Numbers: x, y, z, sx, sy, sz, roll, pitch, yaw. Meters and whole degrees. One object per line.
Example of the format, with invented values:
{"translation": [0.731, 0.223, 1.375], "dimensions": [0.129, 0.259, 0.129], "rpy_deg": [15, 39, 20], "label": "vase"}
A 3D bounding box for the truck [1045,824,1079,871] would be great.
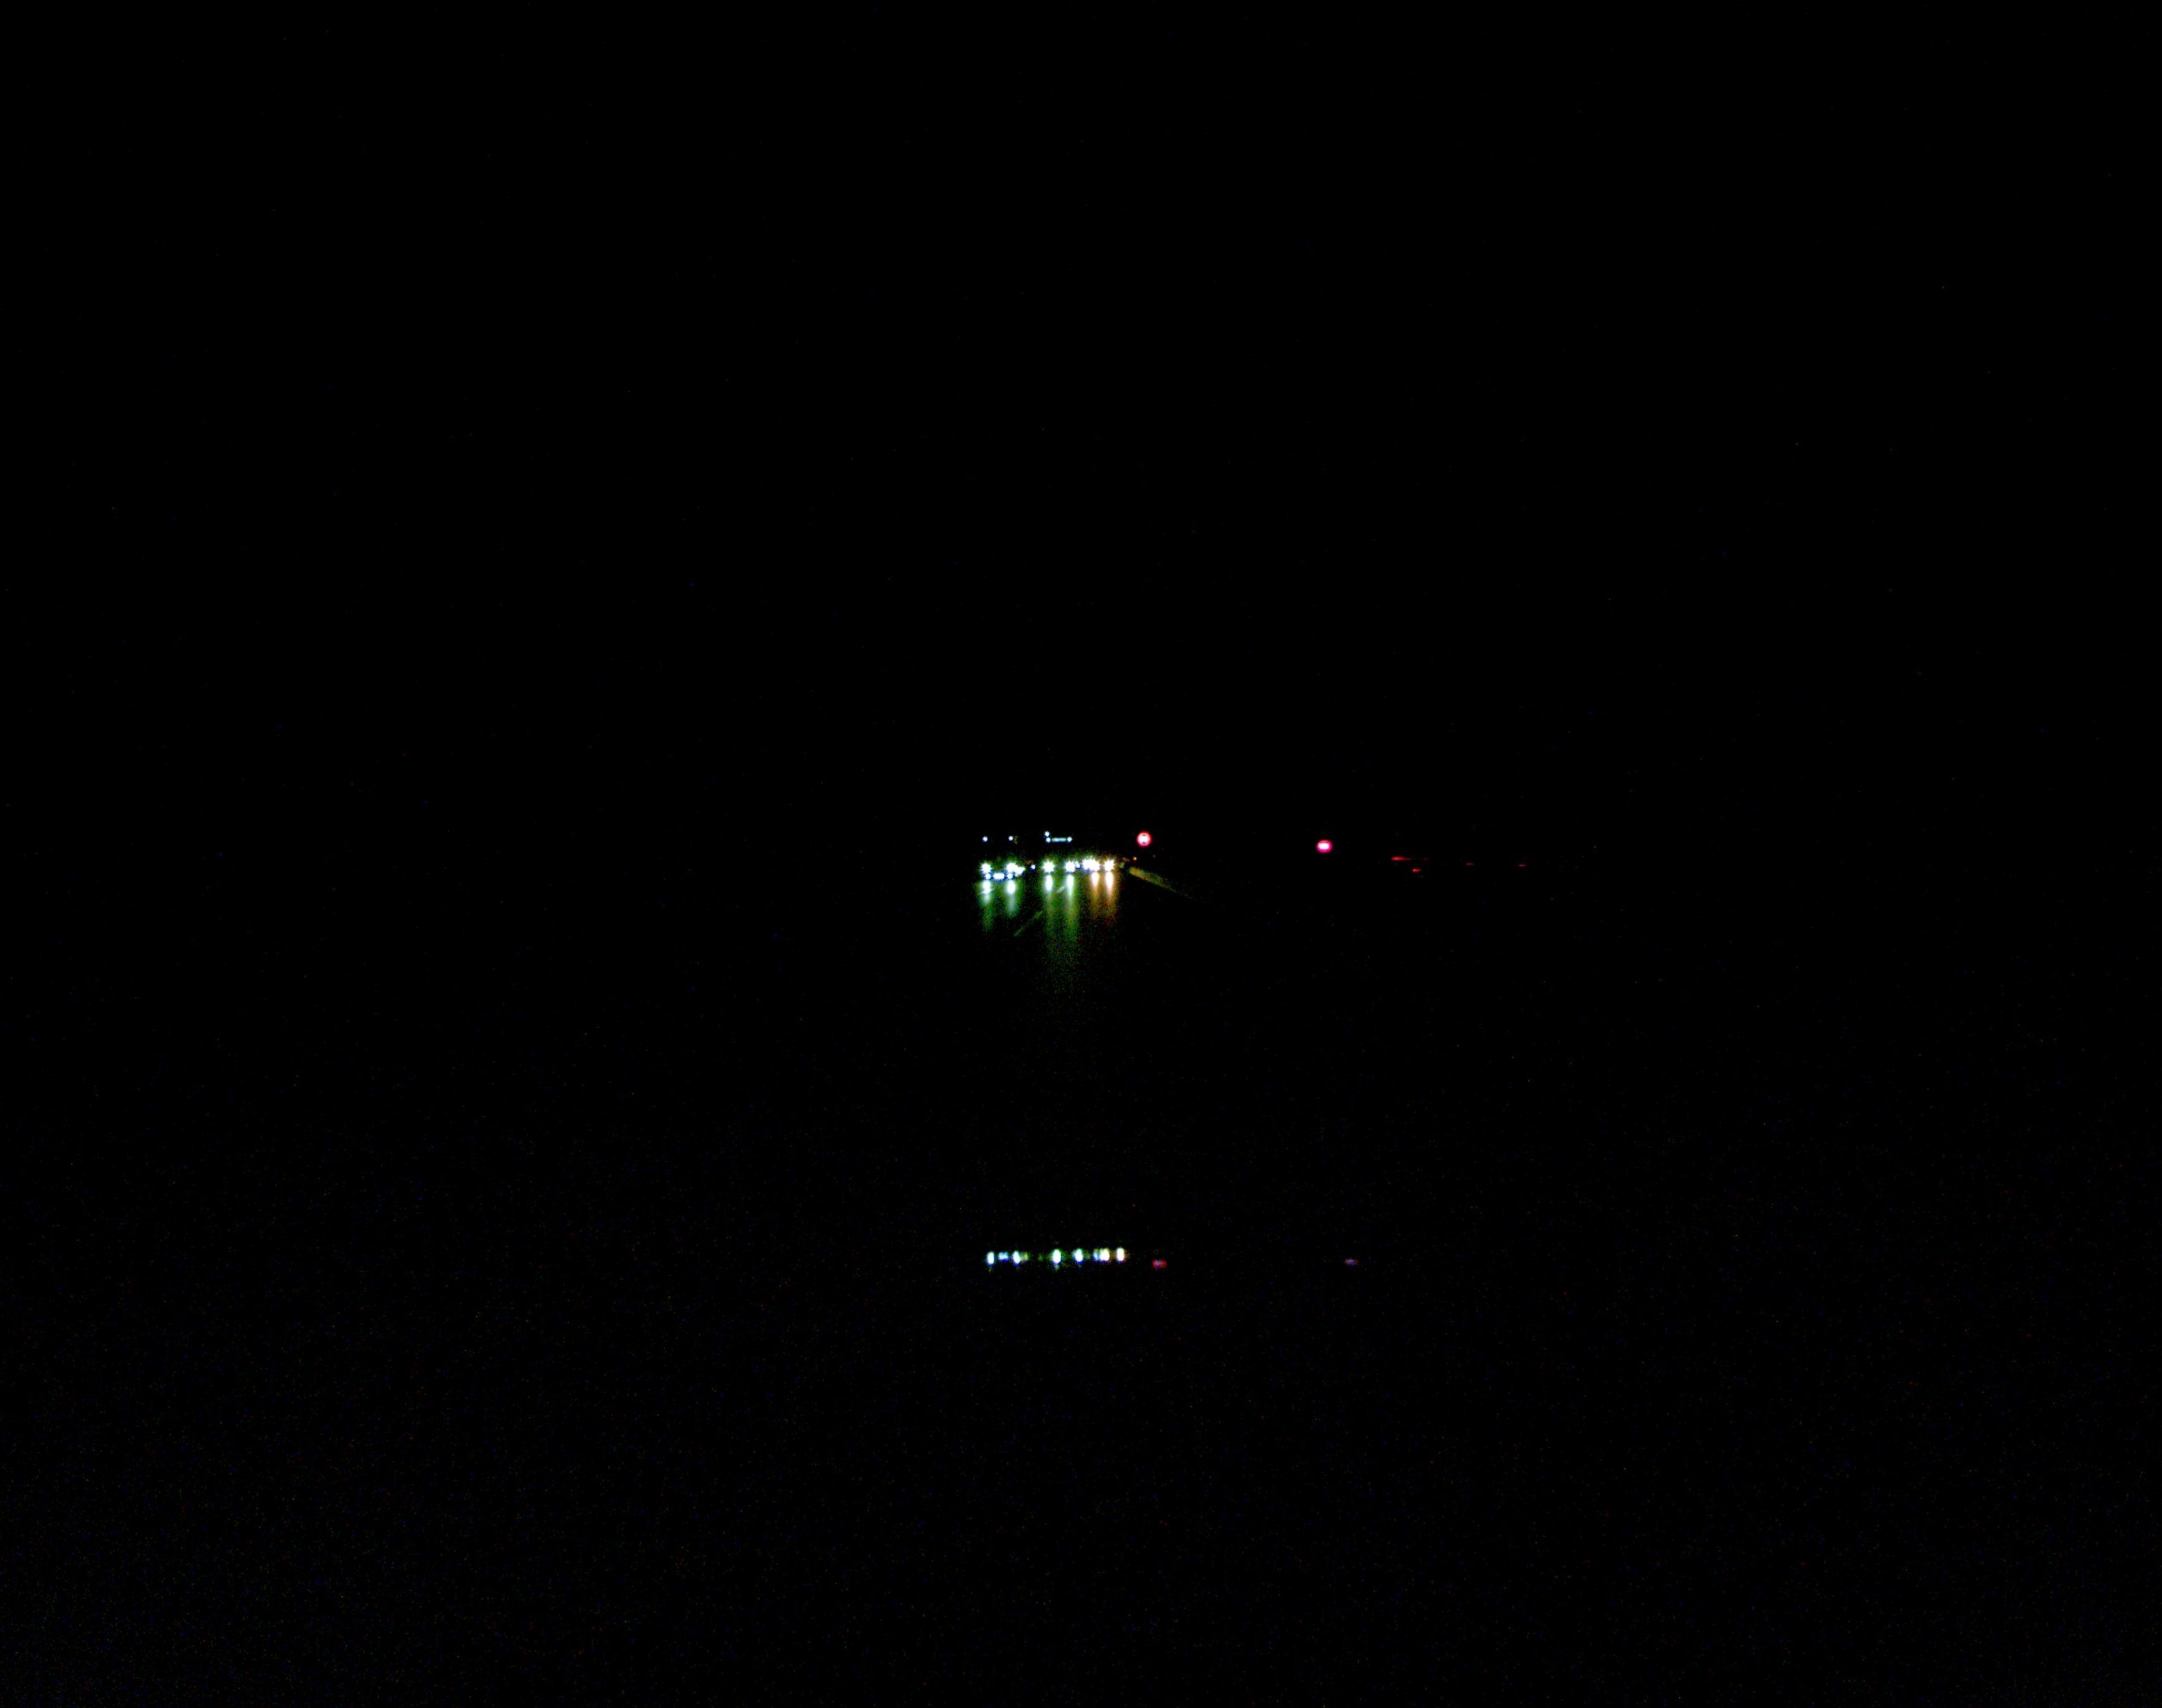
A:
{"translation": [-1.739, -0.592, 71.612], "dimensions": [2.668, 4.181, 6.723], "rpy_deg": [-2, 0, 2], "label": "truck"}

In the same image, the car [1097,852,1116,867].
{"translation": [2.584, 0.539, 77.570], "dimensions": [1.825, 1.457, 4.248], "rpy_deg": [-2, 0, 2], "label": "car"}

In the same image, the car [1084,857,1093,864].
{"translation": [1.911, 1.704, 201.557], "dimensions": [2.266, 1.841, 5.404], "rpy_deg": [-2, 0, 1], "label": "car"}

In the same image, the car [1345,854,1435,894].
{"translation": [12.602, 0.766, 31.303], "dimensions": [1.754, 1.470, 4.752], "rpy_deg": [1, 0, 0], "label": "car"}

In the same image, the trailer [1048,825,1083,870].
{"translation": [-1.458, -0.618, 78.550], "dimensions": [2.749, 4.181, 13.512], "rpy_deg": [-2, 0, 2], "label": "trailer"}

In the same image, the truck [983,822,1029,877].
{"translation": [-5.957, -0.345, 61.488], "dimensions": [2.597, 4.048, 7.674], "rpy_deg": [-2, 0, 2], "label": "truck"}

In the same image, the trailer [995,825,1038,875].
{"translation": [-5.719, -0.328, 68.936], "dimensions": [2.597, 4.048, 10.010], "rpy_deg": [-2, 0, 2], "label": "trailer"}
